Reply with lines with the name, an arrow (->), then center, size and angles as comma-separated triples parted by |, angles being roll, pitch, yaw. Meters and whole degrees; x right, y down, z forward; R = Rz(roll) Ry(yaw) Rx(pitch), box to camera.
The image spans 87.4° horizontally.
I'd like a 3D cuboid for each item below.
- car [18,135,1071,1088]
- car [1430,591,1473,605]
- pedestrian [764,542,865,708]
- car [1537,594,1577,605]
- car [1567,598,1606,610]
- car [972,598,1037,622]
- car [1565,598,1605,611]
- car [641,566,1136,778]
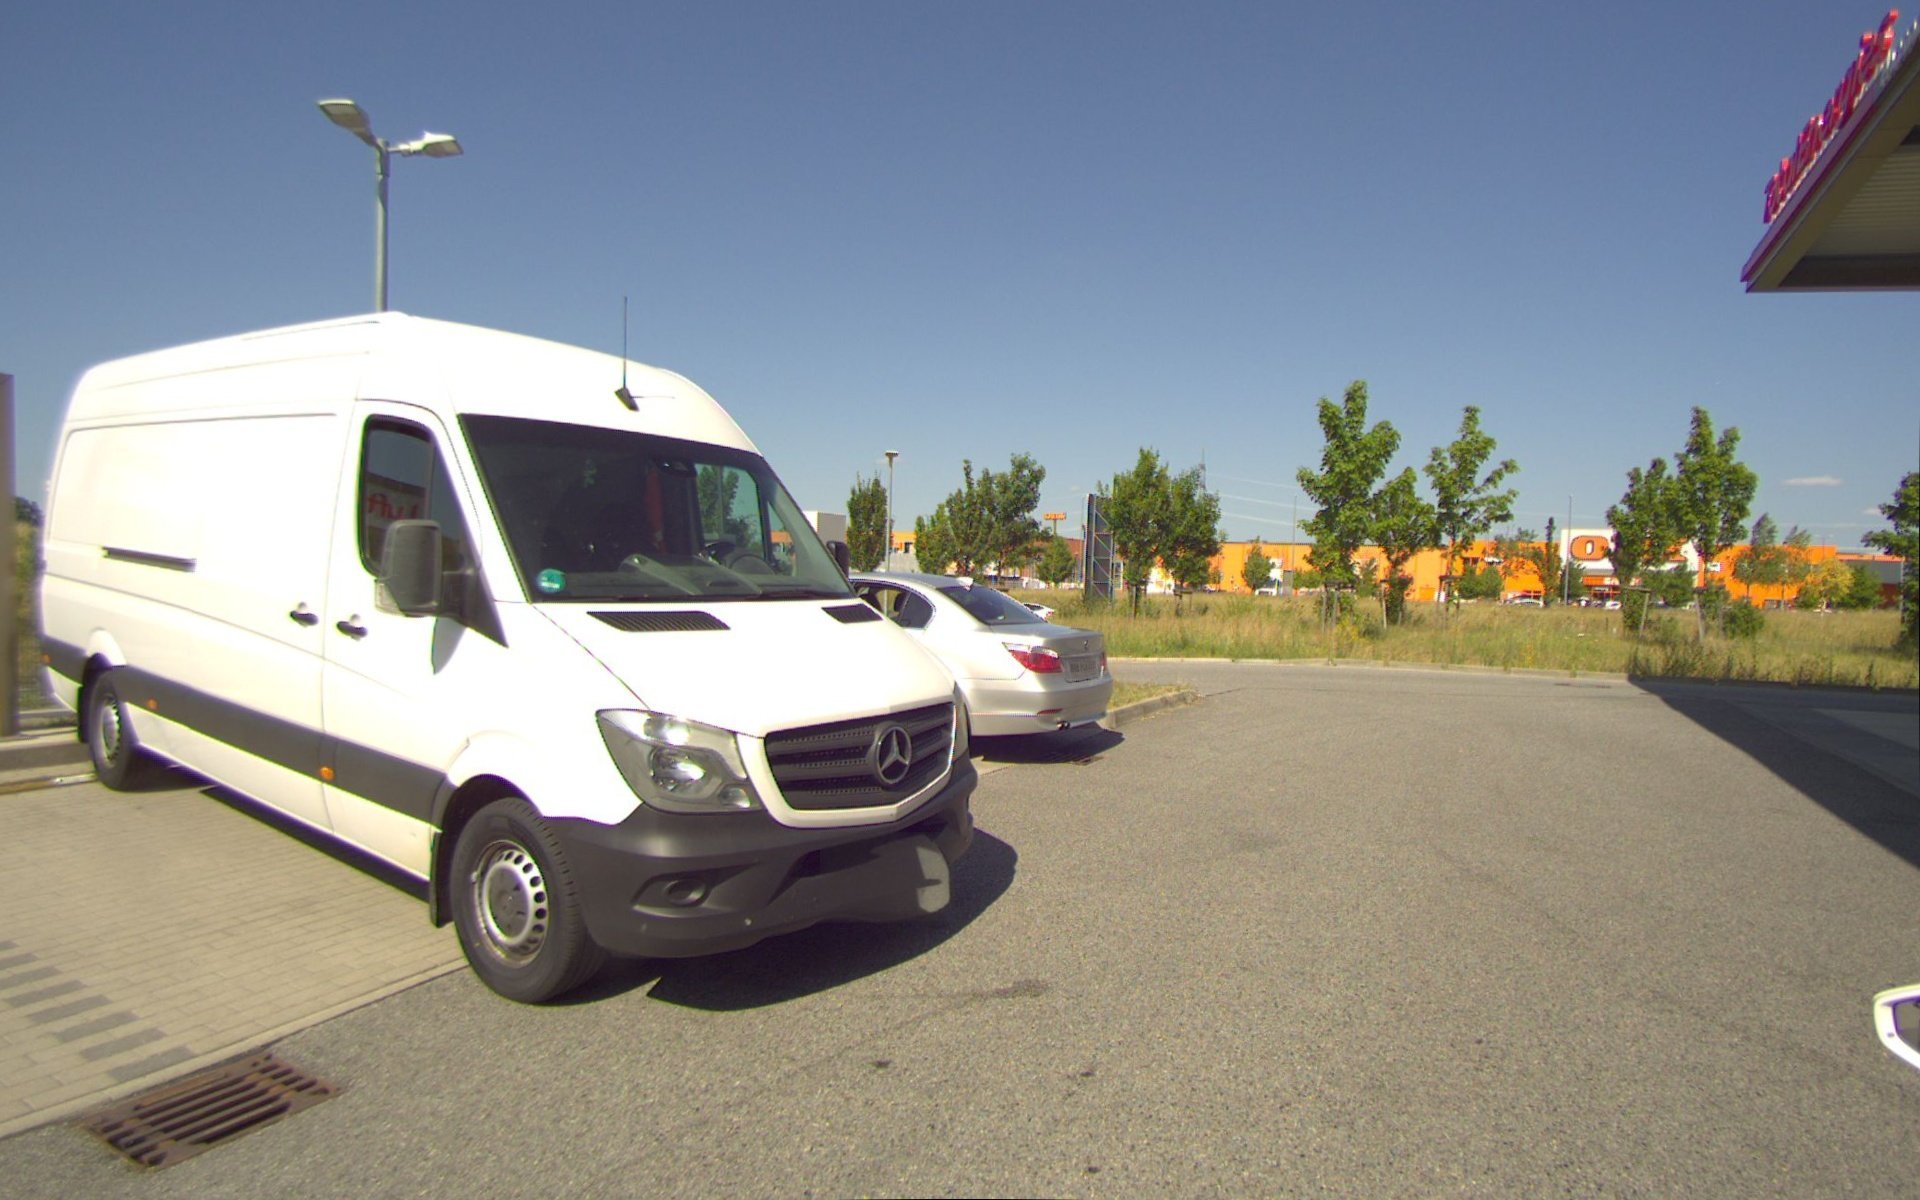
car -> -2.959, -0.159, 5.572 | 6.915, 2.605, 1.993 | 4, 2, 36
car -> 57.790, -0.244, 118.115 | 4.307, 1.568, 1.790 | 2, 1, 31
pedestrian -> -1.625, 0.257, 11.238 | 0.830, 1.772, 0.708 | 2, 1, 29
car -> 63.940, -0.035, 107.571 | 3.646, 1.128, 1.590 | 2, 1, 31
car -> 75.203, 0.529, 120.653 | 3.946, 1.316, 1.753 | 2, 1, 31
car -> 2.682, 0.581, 61.116 | 3.677, 1.316, 1.483 | 2, 1, 31
car -> 76.230, 0.571, 122.586 | 4.096, 1.490, 1.668 | 2, 1, 31
car -> -0.735, 0.491, 9.229 | 4.244, 1.447, 1.790 | 3, 2, 30
